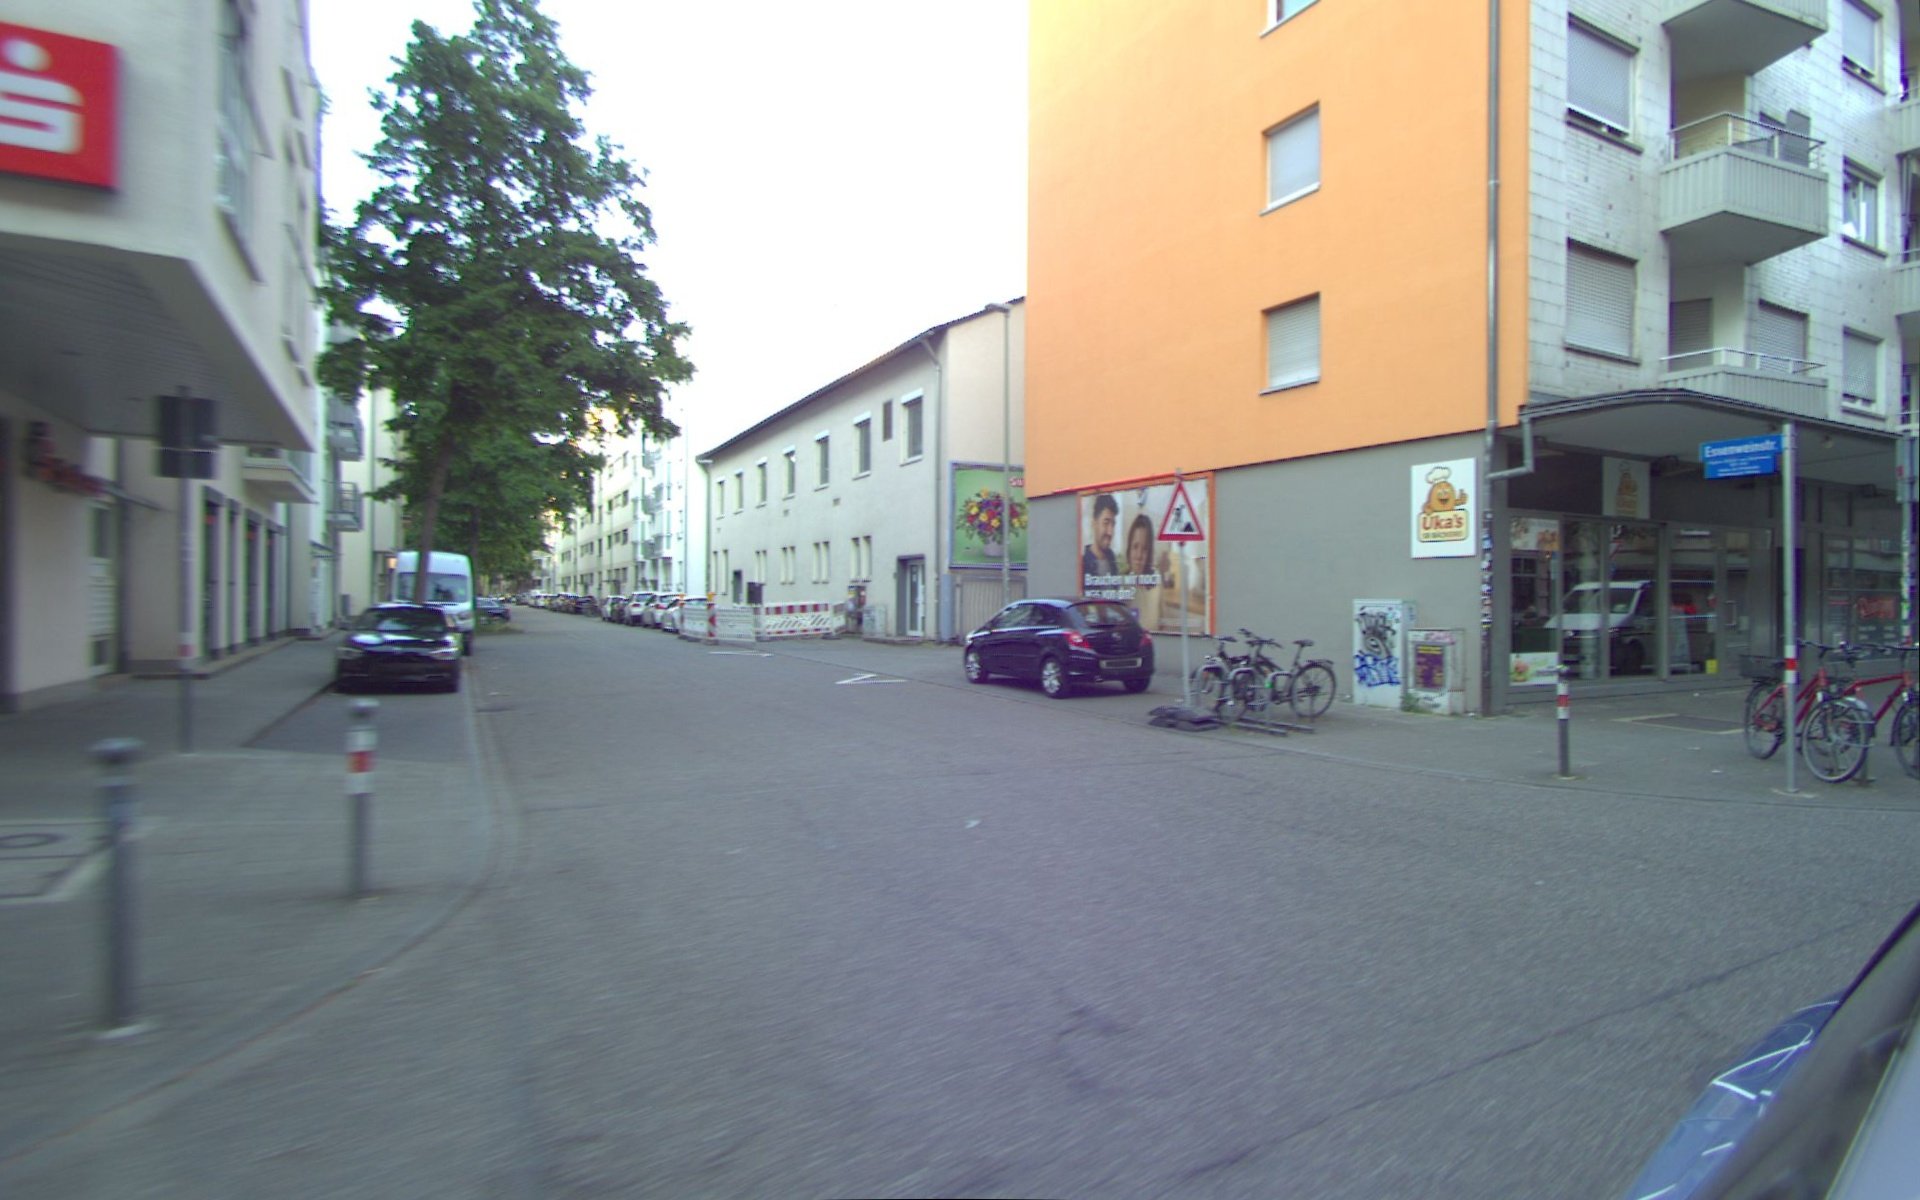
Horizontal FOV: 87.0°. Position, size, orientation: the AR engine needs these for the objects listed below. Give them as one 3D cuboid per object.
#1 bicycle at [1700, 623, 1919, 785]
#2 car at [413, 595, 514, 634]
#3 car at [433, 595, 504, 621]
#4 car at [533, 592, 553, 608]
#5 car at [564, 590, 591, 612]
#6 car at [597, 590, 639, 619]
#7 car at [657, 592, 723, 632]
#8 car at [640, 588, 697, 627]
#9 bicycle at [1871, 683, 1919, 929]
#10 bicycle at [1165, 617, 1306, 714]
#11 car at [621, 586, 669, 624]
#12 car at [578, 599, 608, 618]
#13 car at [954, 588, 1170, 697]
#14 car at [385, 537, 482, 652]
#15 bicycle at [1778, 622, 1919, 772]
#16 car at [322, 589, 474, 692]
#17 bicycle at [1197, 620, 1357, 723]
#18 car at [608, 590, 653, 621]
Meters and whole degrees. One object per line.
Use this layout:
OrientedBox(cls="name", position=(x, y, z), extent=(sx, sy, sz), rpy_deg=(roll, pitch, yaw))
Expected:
OrientedBox(cls="bicycle", position=(7.522, 0.846, 8.992), extent=(0.646, 1.148, 1.941), rpy_deg=(1, 2, 8))
OrientedBox(cls="car", position=(-23.732, 0.678, 48.431), extent=(3.933, 1.705, 1.942), rpy_deg=(-1, 0, -43))
OrientedBox(cls="car", position=(-33.524, 0.520, 69.119), extent=(1.939, 1.705, 3.940), rpy_deg=(-1, 0, 42))
OrientedBox(cls="car", position=(-42.597, 0.008, 103.363), extent=(1.558, 1.490, 3.600), rpy_deg=(-1, 0, -26))
OrientedBox(cls="car", position=(-28.419, 0.099, 75.159), extent=(1.558, 1.560, 3.600), rpy_deg=(-1, 0, -26))
OrientedBox(cls="car", position=(-19.781, 0.235, 58.483), extent=(1.878, 1.571, 3.800), rpy_deg=(-1, 0, -25))
OrientedBox(cls="car", position=(-10.570, 0.430, 39.478), extent=(1.773, 1.437, 4.139), rpy_deg=(-1, 0, -25))
OrientedBox(cls="car", position=(-12.819, 0.320, 44.374), extent=(1.837, 1.615, 3.759), rpy_deg=(-1, 0, -25))
OrientedBox(cls="bicycle", position=(5.069, 0.892, 4.653), extent=(1.879, 1.031, 0.659), rpy_deg=(-1, 0, -27))
OrientedBox(cls="bicycle", position=(3.449, 0.795, 12.649), extent=(1.721, 1.080, 0.565), rpy_deg=(-1, 1, -24))
OrientedBox(cls="car", position=(-15.346, 0.229, 49.263), extent=(1.807, 1.759, 3.753), rpy_deg=(-1, 0, -24))
OrientedBox(cls="car", position=(-24.895, 0.575, 68.582), extent=(1.515, 1.214, 3.520), rpy_deg=(-1, 0, -26))
OrientedBox(cls="car", position=(1.484, 0.569, 16.090), extent=(1.671, 1.494, 3.685), rpy_deg=(-1, 1, -27))
OrientedBox(cls="car", position=(-14.581, -0.097, 27.907), extent=(2.033, 2.769, 6.791), rpy_deg=(2, -1, -29))
OrientedBox(cls="bicycle", position=(8.460, 0.841, 9.197), extent=(0.646, 1.148, 1.941), rpy_deg=(1, 2, 8))
OrientedBox(cls="car", position=(-9.220, 0.594, 16.921), extent=(1.755, 1.451, 4.255), rpy_deg=(3, 0, -24))
OrientedBox(cls="bicycle", position=(3.791, 0.822, 12.078), extent=(1.923, 1.080, 0.565), rpy_deg=(-1, 1, -24))
OrientedBox(cls="car", position=(-17.533, 0.279, 53.801), extent=(1.791, 1.571, 3.800), rpy_deg=(-1, 0, -25))
